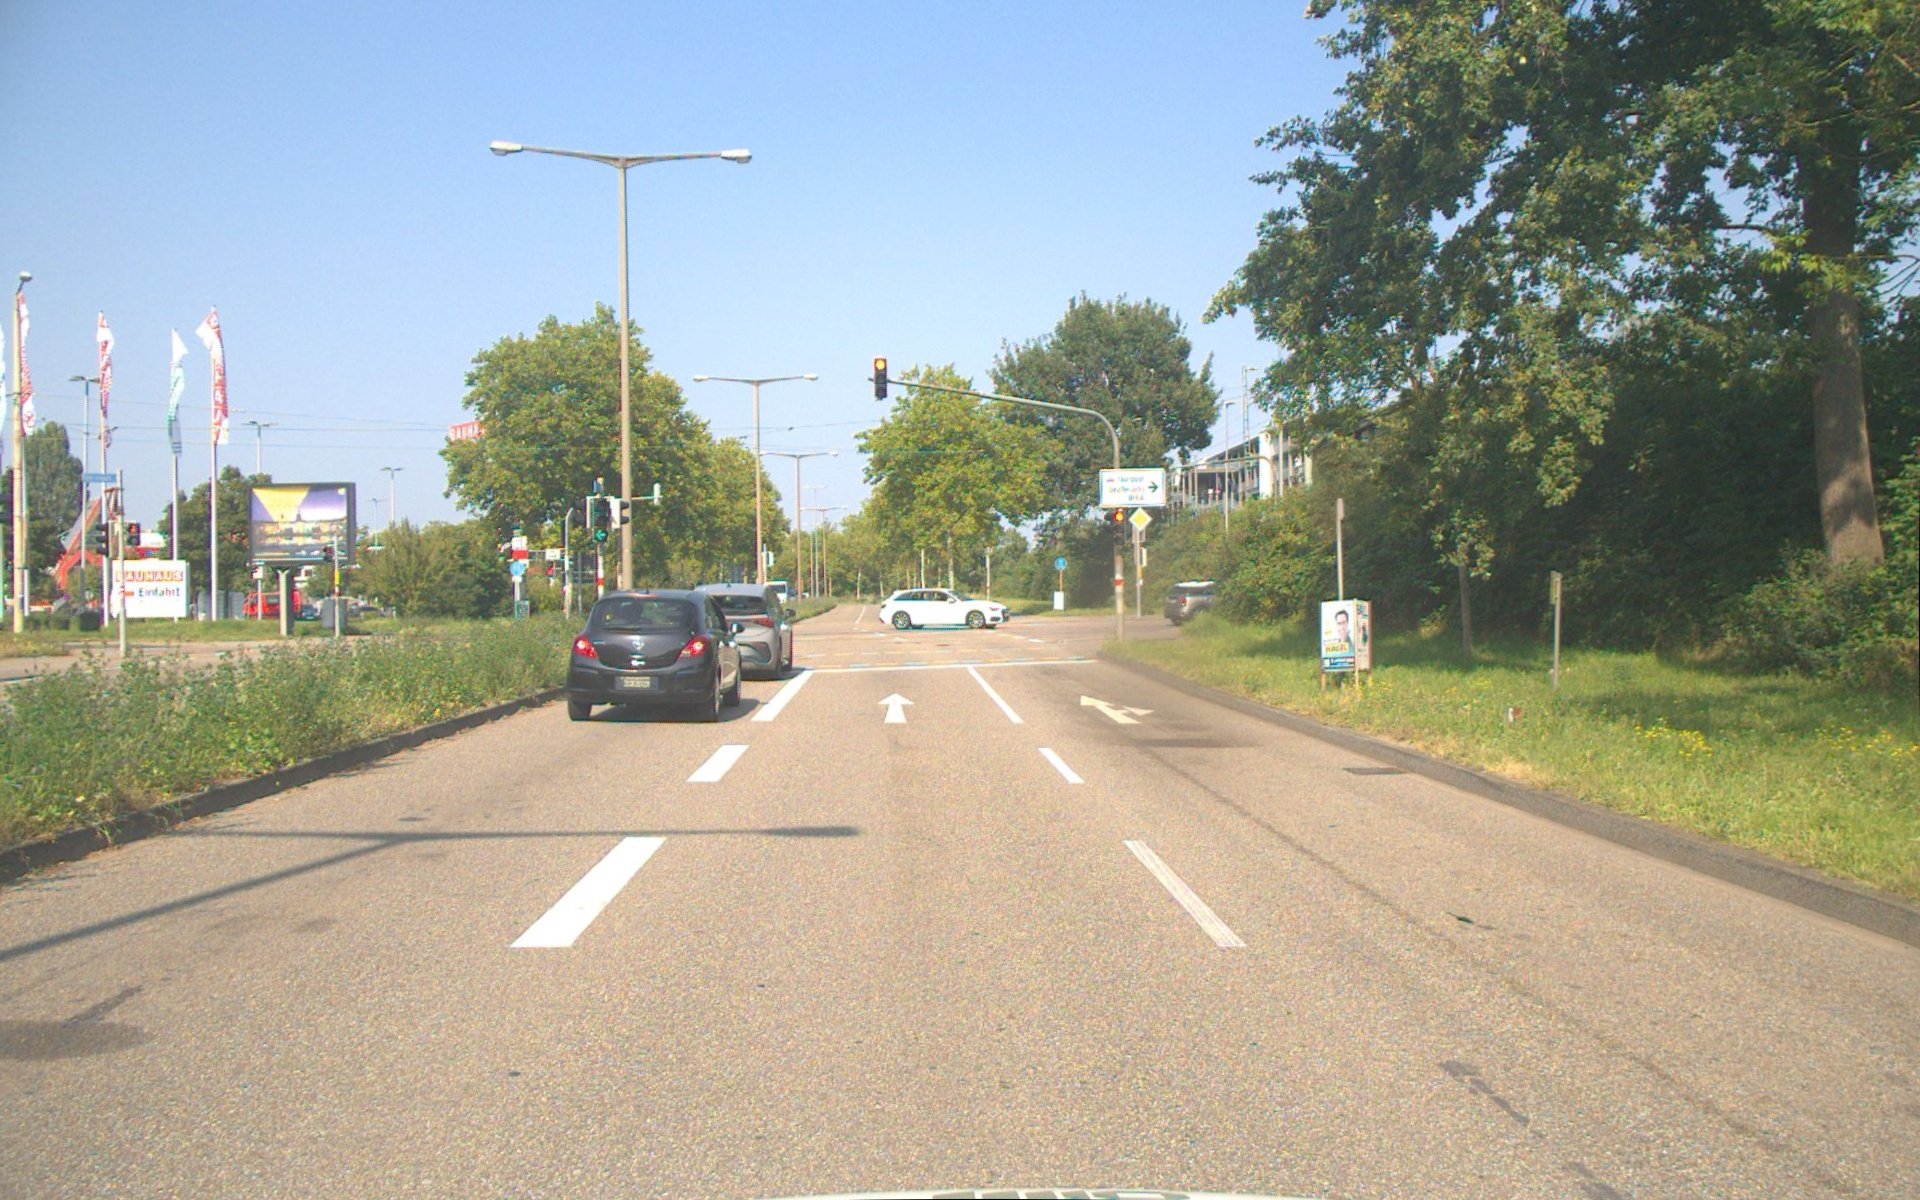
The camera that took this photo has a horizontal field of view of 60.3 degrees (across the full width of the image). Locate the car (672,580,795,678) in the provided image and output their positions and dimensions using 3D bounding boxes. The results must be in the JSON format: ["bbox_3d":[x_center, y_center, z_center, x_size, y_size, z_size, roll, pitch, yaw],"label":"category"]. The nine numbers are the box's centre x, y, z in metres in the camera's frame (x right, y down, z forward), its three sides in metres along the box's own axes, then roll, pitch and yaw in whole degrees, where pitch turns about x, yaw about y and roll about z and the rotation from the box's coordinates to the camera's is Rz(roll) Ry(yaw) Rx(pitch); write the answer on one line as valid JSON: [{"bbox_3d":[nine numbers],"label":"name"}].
[{"bbox_3d":[-3.752,0.431,27.972,1.658,1.511,3.998,-1,1,-3],"label":"car"}]

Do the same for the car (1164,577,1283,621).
[{"bbox_3d":[9.368,-0.048,58.944,3.890,1.512,1.623,0,0,-7],"label":"car"}]

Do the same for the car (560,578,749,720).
[{"bbox_3d":[-3.532,0.517,19.757,1.658,1.512,3.998,0,0,-3],"label":"car"}]

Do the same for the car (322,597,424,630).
[{"bbox_3d":[-22.070,0.499,62.234,3.303,1.156,1.494,-1,0,6],"label":"car"}]

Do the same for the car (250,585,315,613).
[{"bbox_3d":[-51.364,-0.098,125.419,4.242,2.049,1.975,0,0,-36],"label":"car"}]

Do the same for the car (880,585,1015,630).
[{"bbox_3d":[-0.445,0.247,58.785,4.512,1.512,1.698,1,0,20],"label":"car"}]
